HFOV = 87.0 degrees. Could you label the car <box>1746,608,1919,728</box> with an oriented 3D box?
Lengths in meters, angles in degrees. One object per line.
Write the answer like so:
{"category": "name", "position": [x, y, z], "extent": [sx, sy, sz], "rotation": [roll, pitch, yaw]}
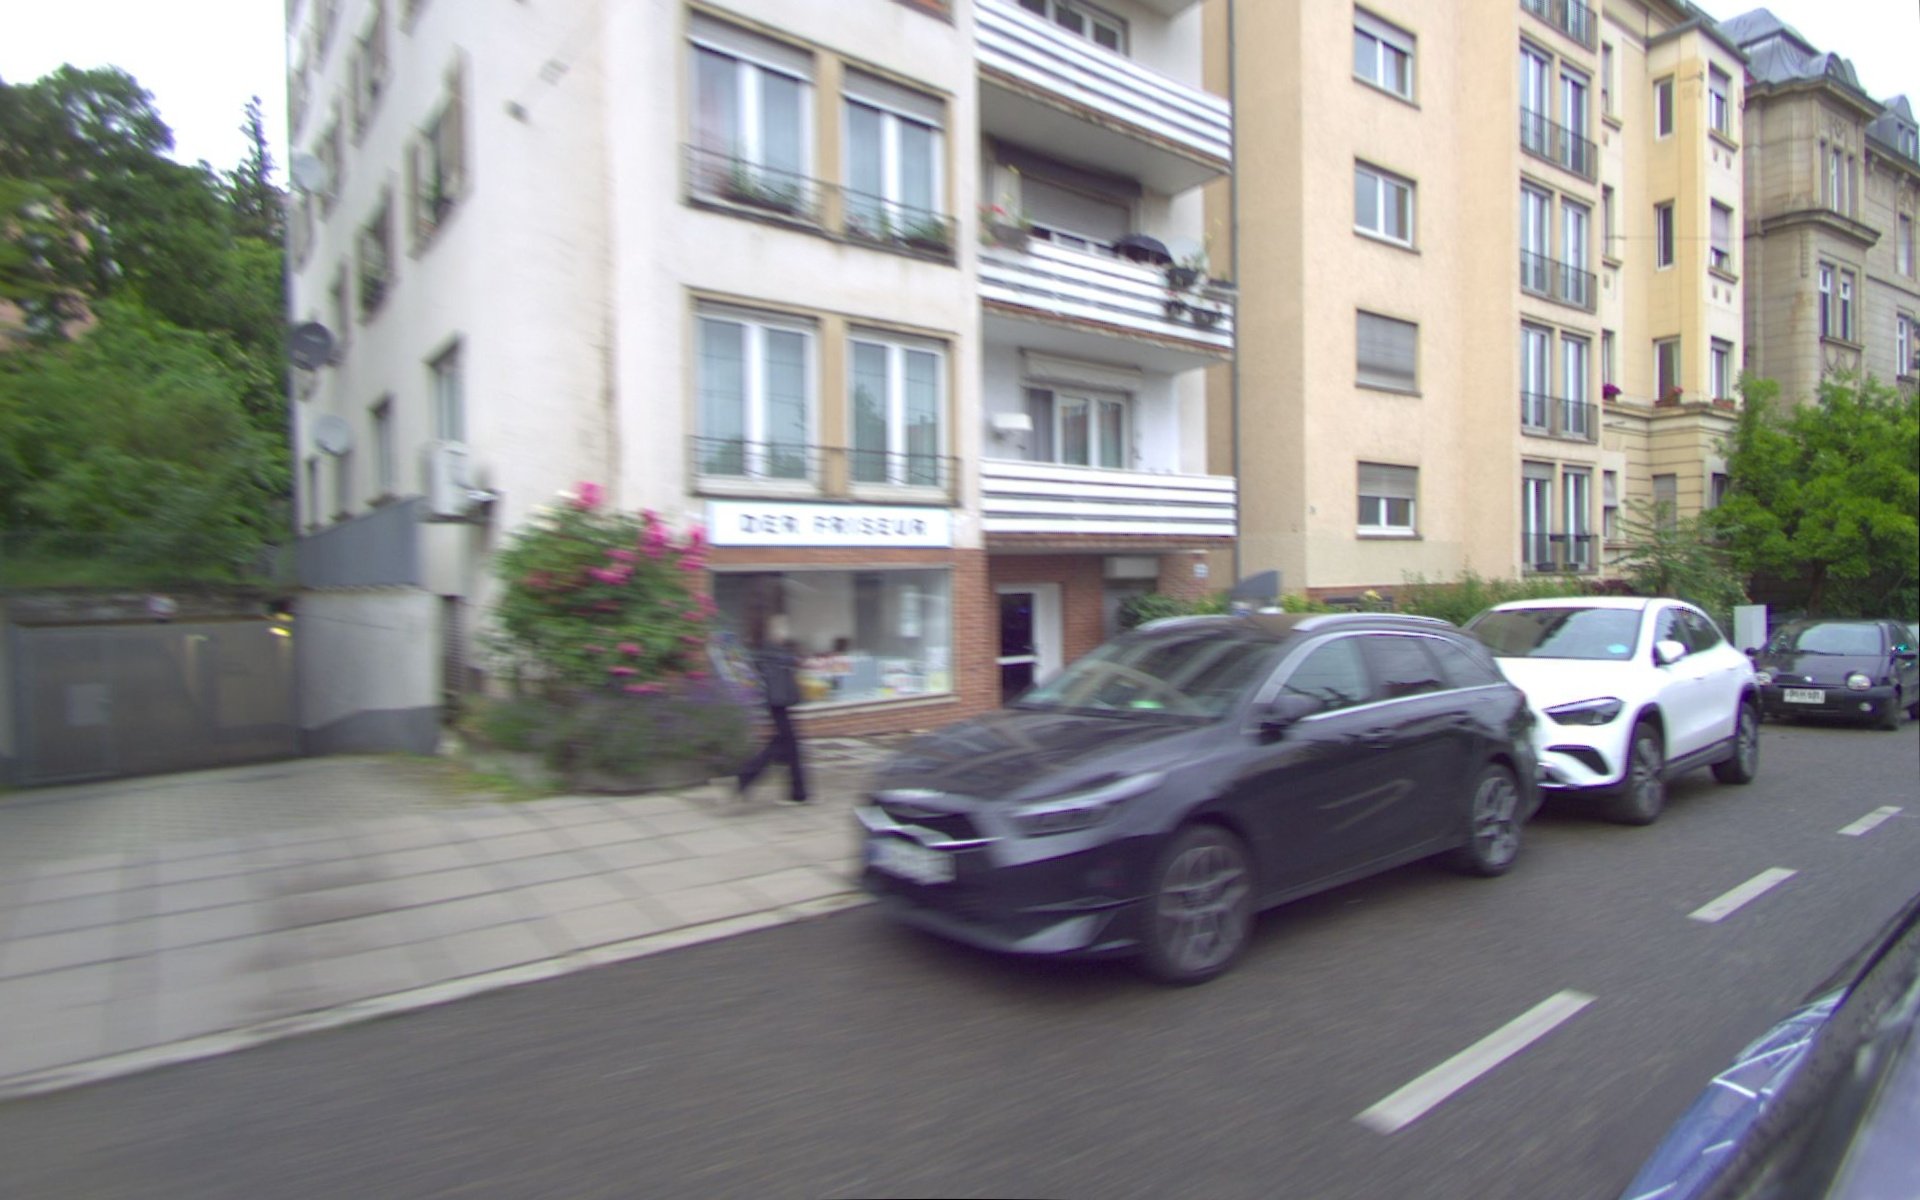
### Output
{"category": "car", "position": [12.722, 0.860, 14.288], "extent": [4.224, 1.455, 1.560], "rotation": [1, -1, -38]}

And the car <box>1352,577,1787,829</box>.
{"category": "car", "position": [5.211, 0.677, 8.442], "extent": [4.172, 1.593, 1.841], "rotation": [1, -1, -40]}

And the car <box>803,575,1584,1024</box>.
{"category": "car", "position": [1.537, 0.739, 5.543], "extent": [4.487, 1.532, 1.705], "rotation": [1, -3, -38]}

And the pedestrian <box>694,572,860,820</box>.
{"category": "pedestrian", "position": [-1.247, 0.607, 6.950], "extent": [0.569, 1.561, 0.915], "rotation": [4, 2, 44]}

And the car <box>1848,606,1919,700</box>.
{"category": "car", "position": [16.569, 0.847, 16.946], "extent": [3.987, 1.455, 1.688], "rotation": [1, -1, -36]}
